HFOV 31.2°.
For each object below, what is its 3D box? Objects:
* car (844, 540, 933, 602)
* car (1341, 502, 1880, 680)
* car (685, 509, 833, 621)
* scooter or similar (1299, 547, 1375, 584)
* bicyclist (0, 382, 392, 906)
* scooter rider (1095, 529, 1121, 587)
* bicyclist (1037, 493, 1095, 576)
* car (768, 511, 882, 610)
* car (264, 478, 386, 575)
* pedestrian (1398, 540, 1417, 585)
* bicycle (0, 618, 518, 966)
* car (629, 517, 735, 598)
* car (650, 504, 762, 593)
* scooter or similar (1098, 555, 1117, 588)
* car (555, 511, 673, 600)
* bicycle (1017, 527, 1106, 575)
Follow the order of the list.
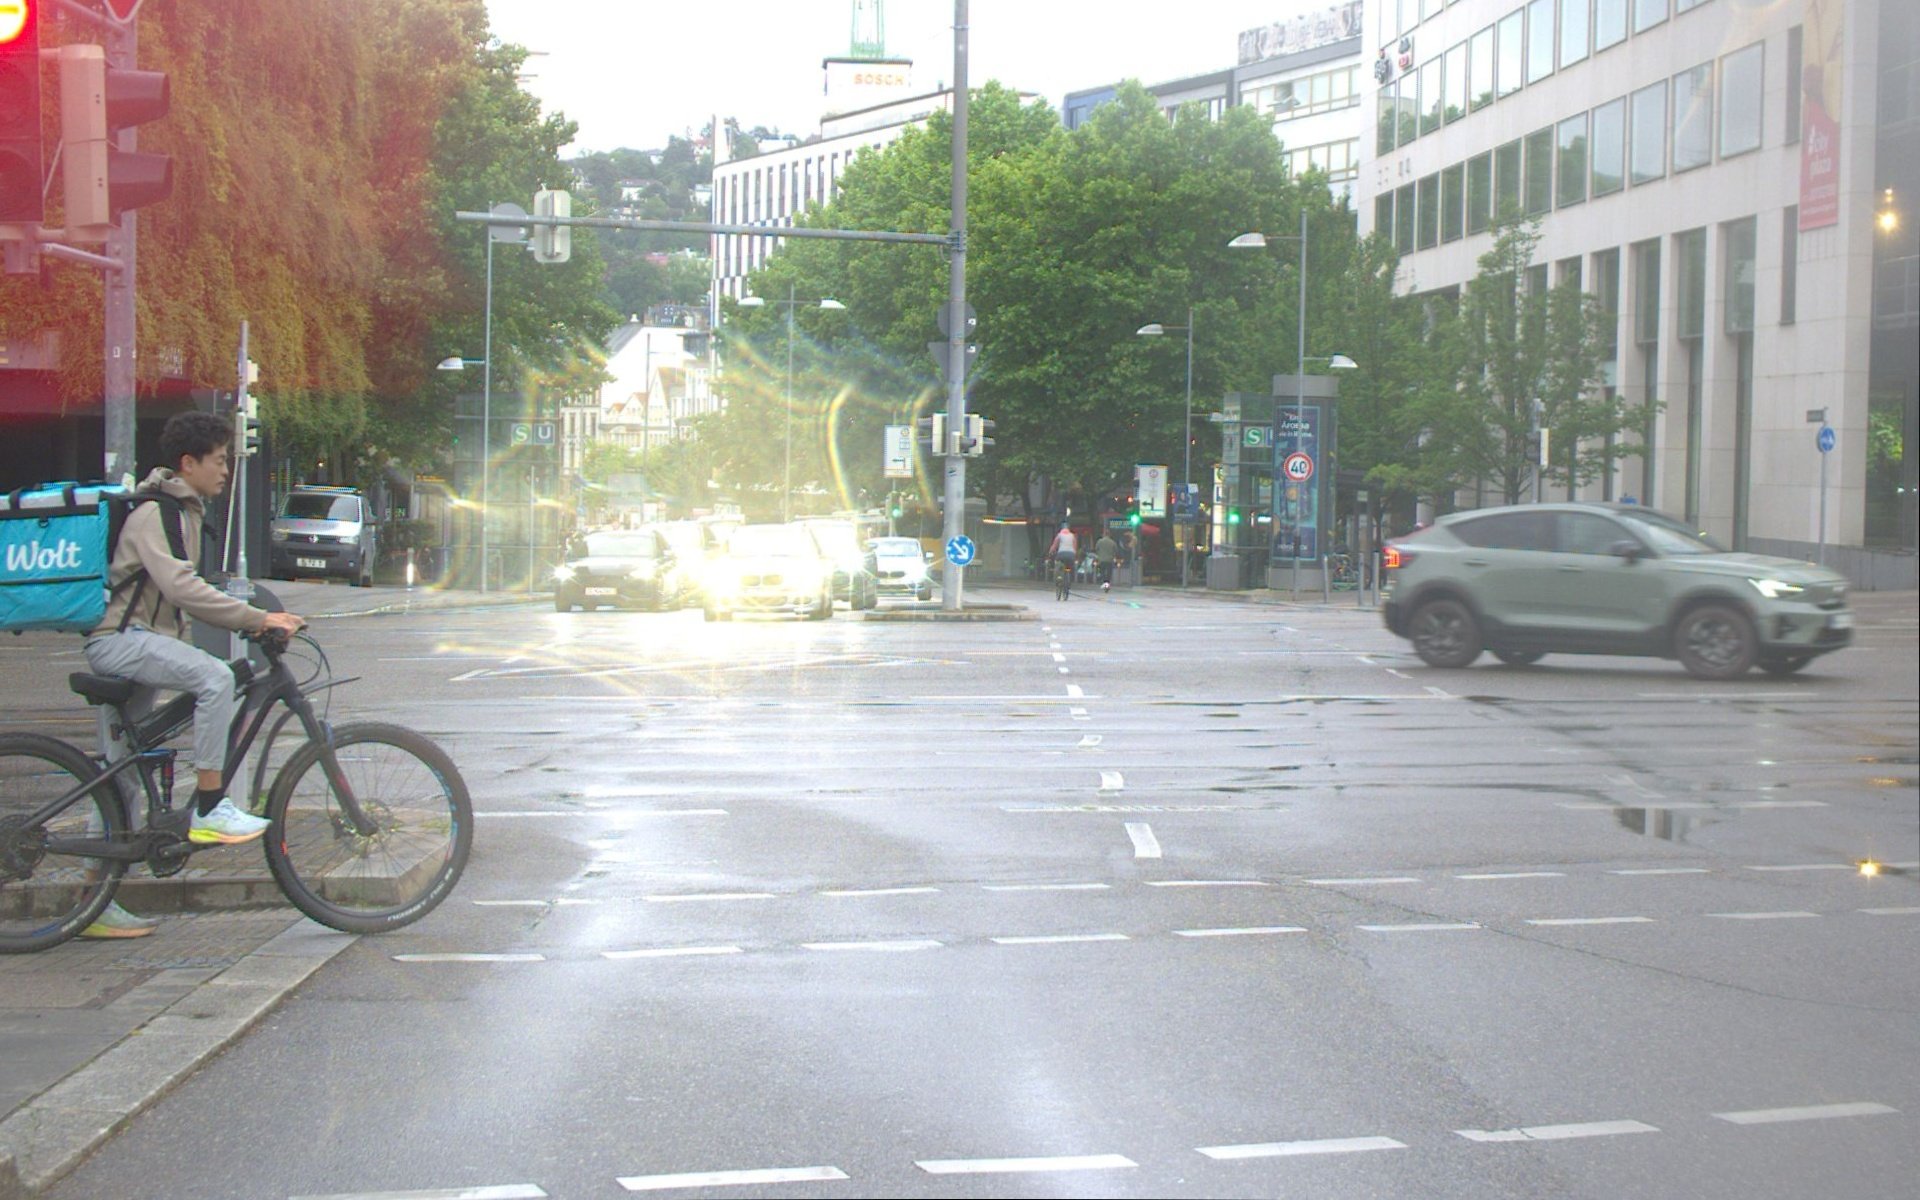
[{"bbox_3d":[-1.765,-0.727,83.875,1.993,1.439,4.556,0,1,-3],"label":"car"},{"bbox_3d":[6.072,-0.133,32.292,4.550,1.545,1.996,1,2,35],"label":"car"},{"bbox_3d":[-2.877,-0.544,50.024,1.993,1.481,4.465,0,3,-1],"label":"car"},{"bbox_3d":[8.928,-0.814,81.444,1.745,0.875,0.489,0,1,-19],"label":"scooter or similar"},{"bbox_3d":[-2.701,0.130,11.800,1.294,1.698,0.848,0,1,-25],"label":"bicyclist"},{"bbox_3d":[4.533,-1.294,105.226,0.762,1.768,0.796,0,1,1],"label":"scooter rider"},{"bbox_3d":[2.529,-1.558,82.061,0.791,1.968,1.114,0,1,-42],"label":"bicyclist"},{"bbox_3d":[-2.470,-0.743,61.989,1.963,1.649,4.365,0,3,-3],"label":"car"},{"bbox_3d":[-12.882,-1.500,69.954,1.993,1.888,4.466,0,1,-5],"label":"car"},{"bbox_3d":[11.519,-0.972,88.510,0.352,1.169,0.415,0,1,-11],"label":"pedestrian"},{"bbox_3d":[-2.678,0.629,11.813,2.145,1.099,0.848,0,1,-23],"label":"bicycle"},{"bbox_3d":[-5.368,-0.836,65.983,1.856,1.443,4.622,0,2,-7],"label":"car"},{"bbox_3d":[-5.420,-1.119,72.858,2.174,1.817,4.645,0,1,-6],"label":"car"},{"bbox_3d":[4.506,-0.875,105.148,0.556,1.003,1.824,0,1,1],"label":"scooter or similar"},{"bbox_3d":[-5.970,-0.799,59.691,1.856,1.443,4.622,0,2,-4],"label":"car"},{"bbox_3d":[2.425,-1.174,82.174,0.791,1.113,2.255,0,2,-41],"label":"bicycle"}]
